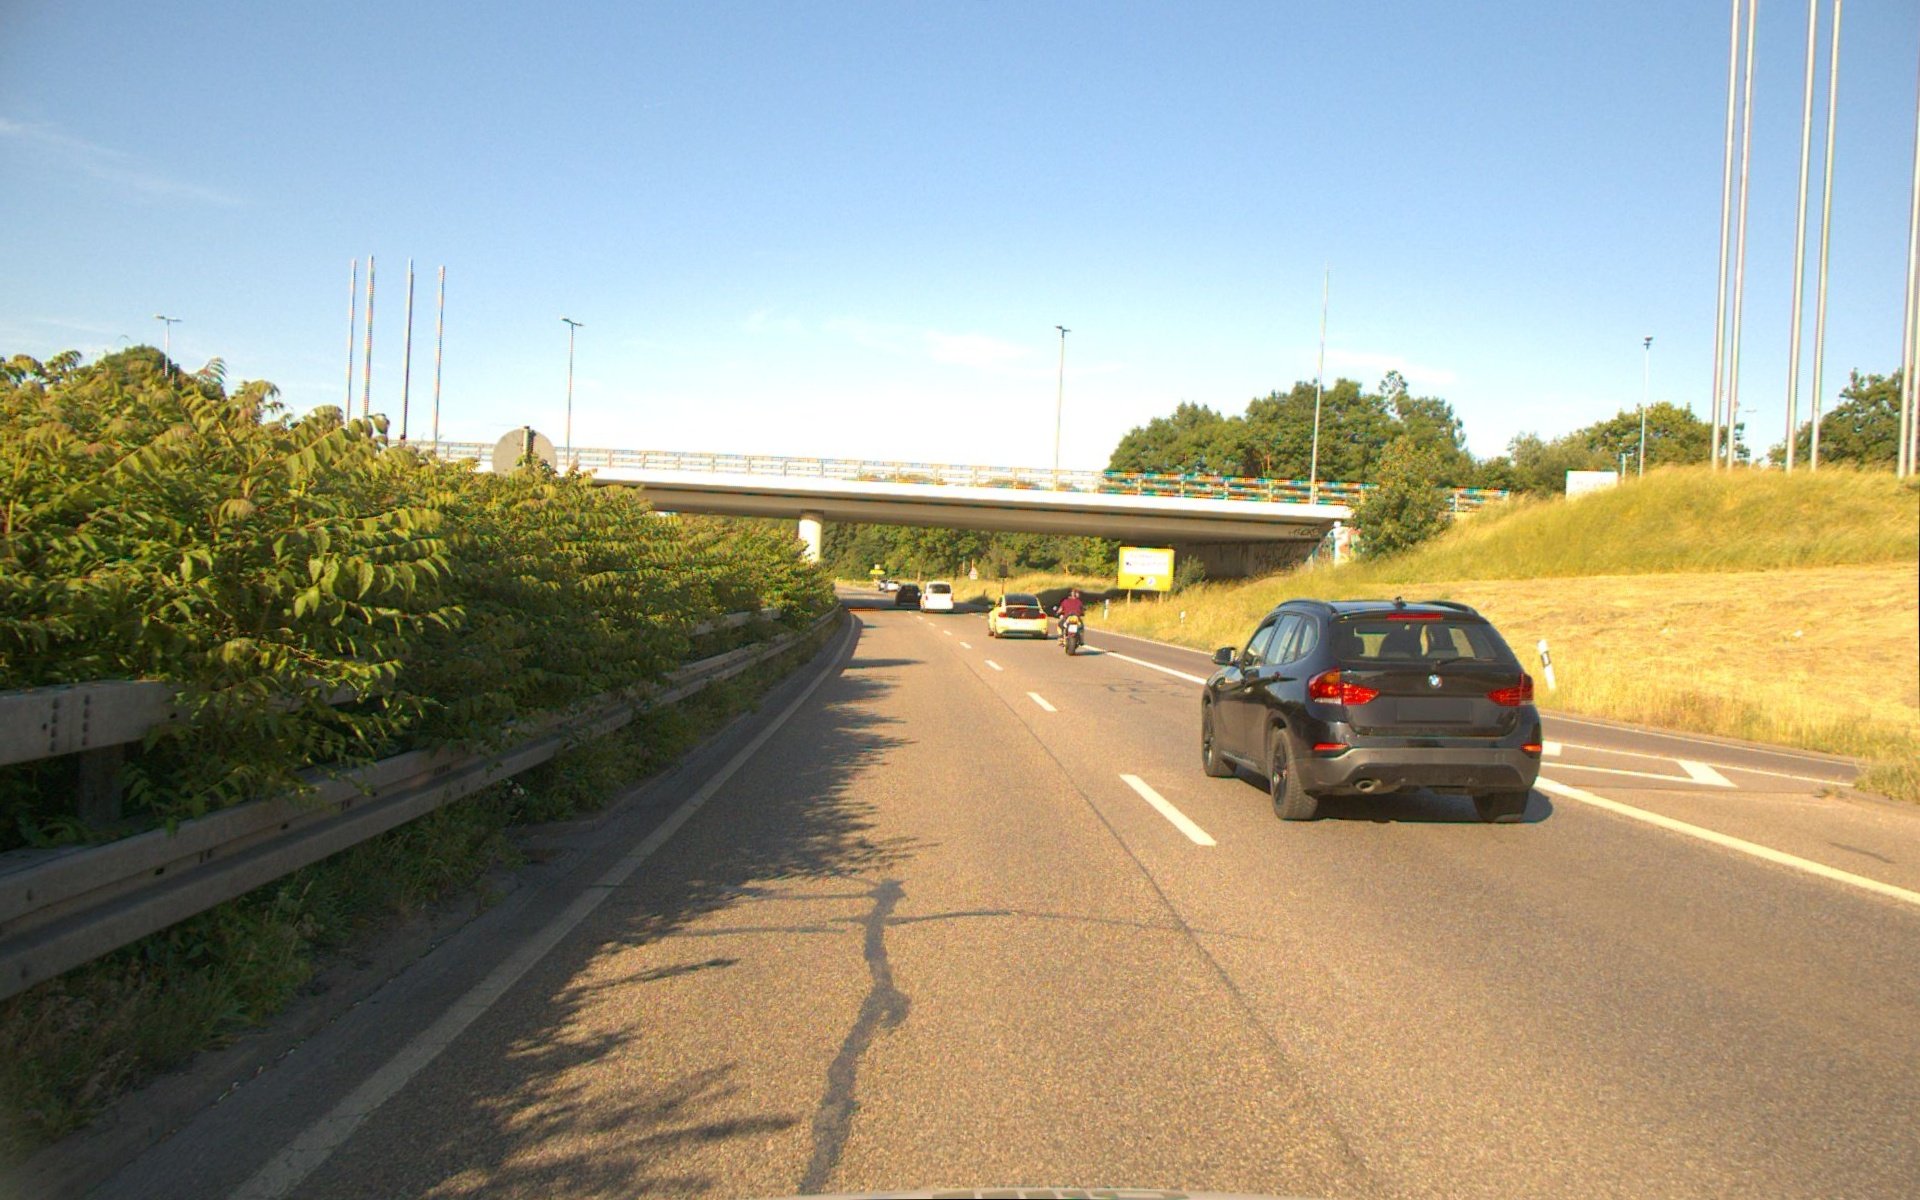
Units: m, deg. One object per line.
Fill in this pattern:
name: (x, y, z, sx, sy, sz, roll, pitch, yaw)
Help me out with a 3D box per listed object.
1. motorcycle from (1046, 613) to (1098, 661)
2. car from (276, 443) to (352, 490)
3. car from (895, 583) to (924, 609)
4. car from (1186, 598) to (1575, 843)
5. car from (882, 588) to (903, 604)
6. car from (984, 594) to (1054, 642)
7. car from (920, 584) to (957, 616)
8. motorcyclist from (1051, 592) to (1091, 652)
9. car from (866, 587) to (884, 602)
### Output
motorcycle: (2.827, 0.923, 42.130, 0.801, 1.088, 2.832, 1, 0, -6)
car: (-42.450, -8.757, 108.716, 4.220, 2.854, 2.081, 2, 0, 20)
car: (-3.562, -0.302, 116.693, 1.860, 1.798, 3.997, 1, 1, -4)
car: (3.037, 0.771, 12.972, 1.665, 1.532, 4.576, 0, 1, -3)
car: (-7.502, -0.470, 183.594, 1.834, 1.714, 3.993, 3, 0, -8)
car: (1.953, 0.588, 55.840, 1.860, 1.496, 3.996, 1, 0, -5)
car: (-1.250, -0.024, 95.056, 1.860, 1.798, 3.996, 0, 0, -5)
motorcyclist: (2.824, 0.550, 42.280, 0.801, 1.472, 1.092, 1, 0, -7)
car: (-10.346, -0.648, 201.184, 1.833, 1.714, 3.995, 3, 0, -6)
